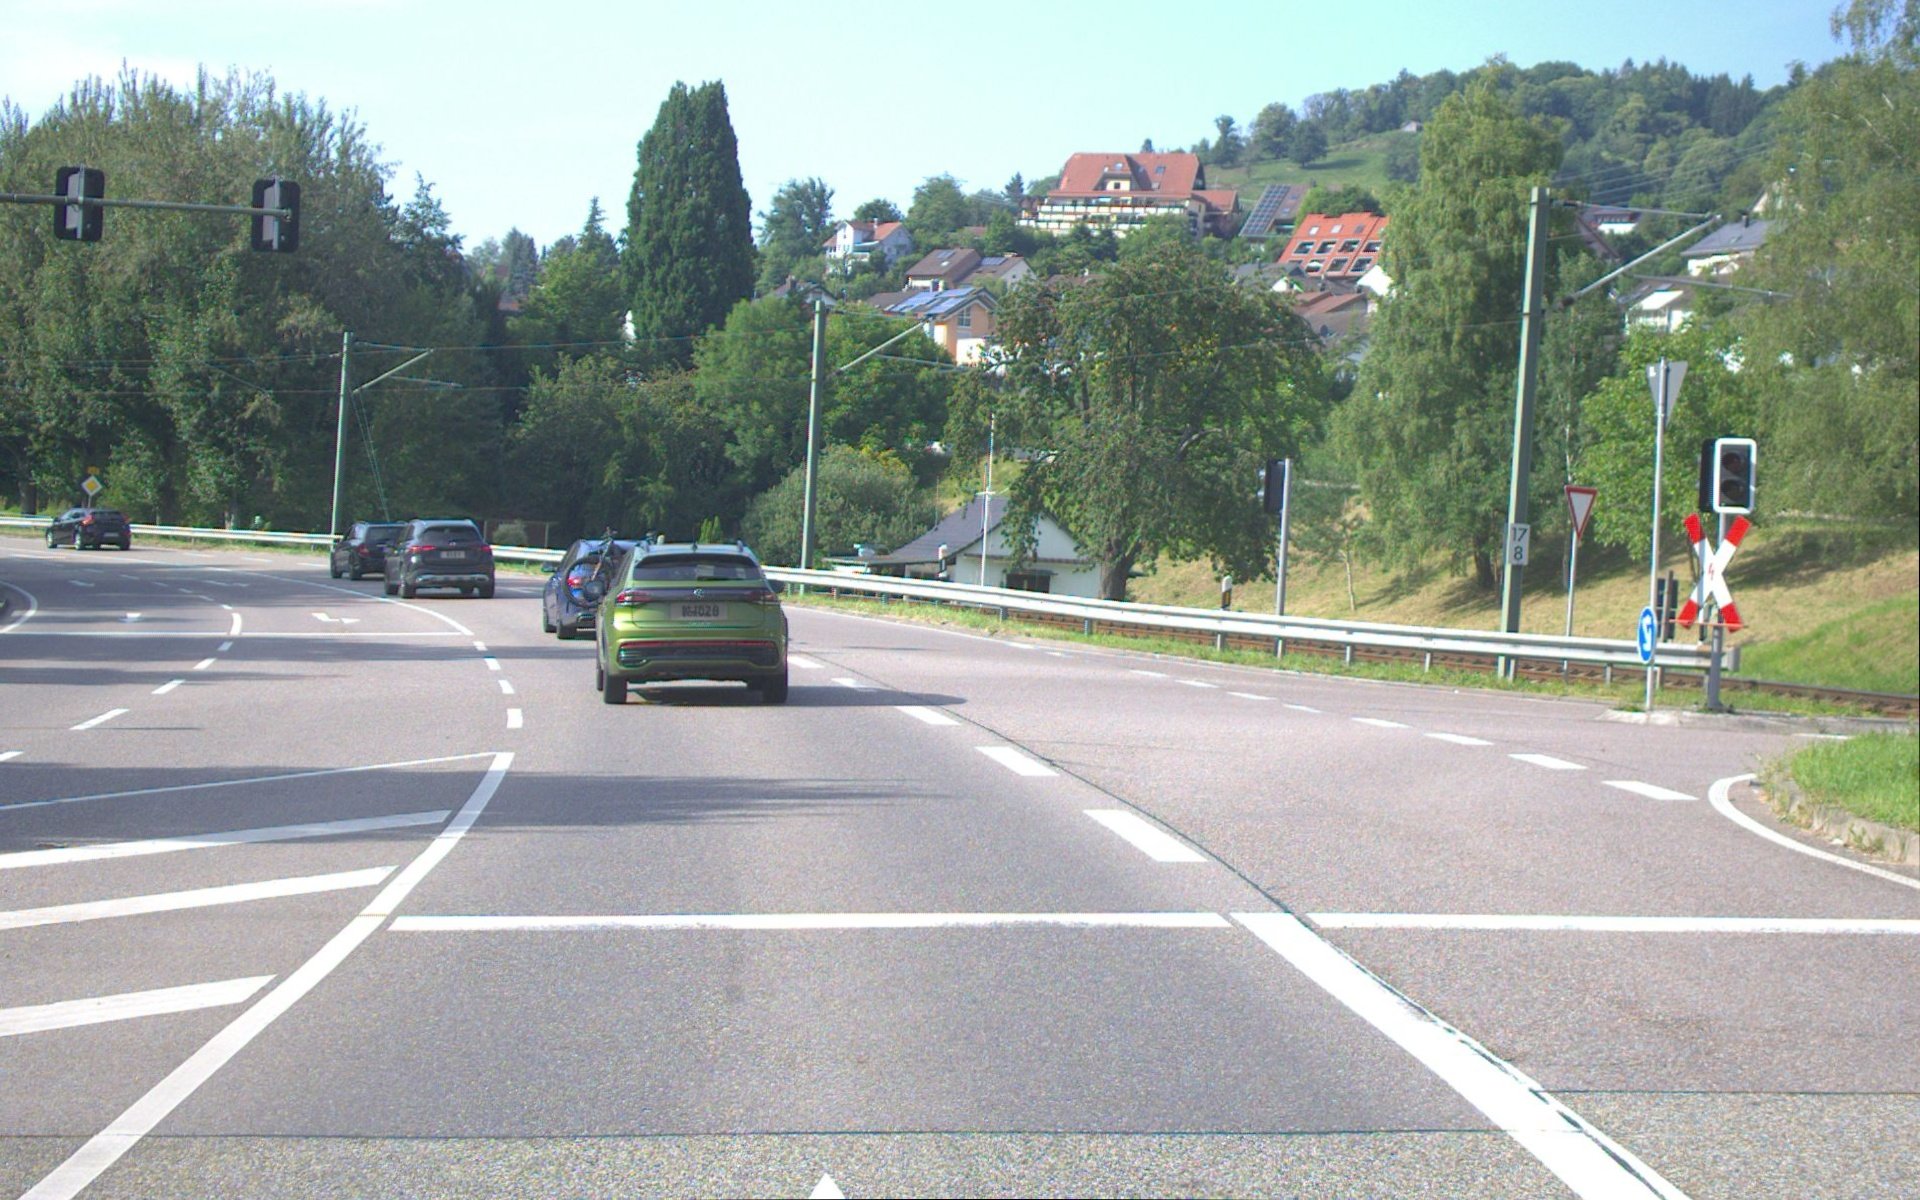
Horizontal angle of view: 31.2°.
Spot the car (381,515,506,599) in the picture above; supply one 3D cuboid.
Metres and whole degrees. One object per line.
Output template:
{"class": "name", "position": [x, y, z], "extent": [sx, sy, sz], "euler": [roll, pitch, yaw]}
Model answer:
{"class": "car", "position": [-10.945, -0.919, 72.649], "extent": [1.879, 1.681, 4.001], "euler": [1, 1, -19]}

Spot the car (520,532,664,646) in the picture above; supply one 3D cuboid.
{"class": "car", "position": [-5.425, -0.190, 50.304], "extent": [1.666, 1.554, 4.001], "euler": [1, 1, -12]}

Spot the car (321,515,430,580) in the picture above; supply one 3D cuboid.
{"class": "car", "position": [-14.685, -1.322, 86.249], "extent": [1.848, 1.521, 3.663], "euler": [1, 1, -23]}

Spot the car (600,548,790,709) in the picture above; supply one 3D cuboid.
{"class": "car", "position": [-2.520, 0.228, 33.270], "extent": [1.714, 1.450, 4.001], "euler": [0, 1, -3]}

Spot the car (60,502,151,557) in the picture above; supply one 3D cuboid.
{"class": "car", "position": [-28.682, -2.371, 115.305], "extent": [1.993, 1.739, 4.001], "euler": [1, 1, -28]}
